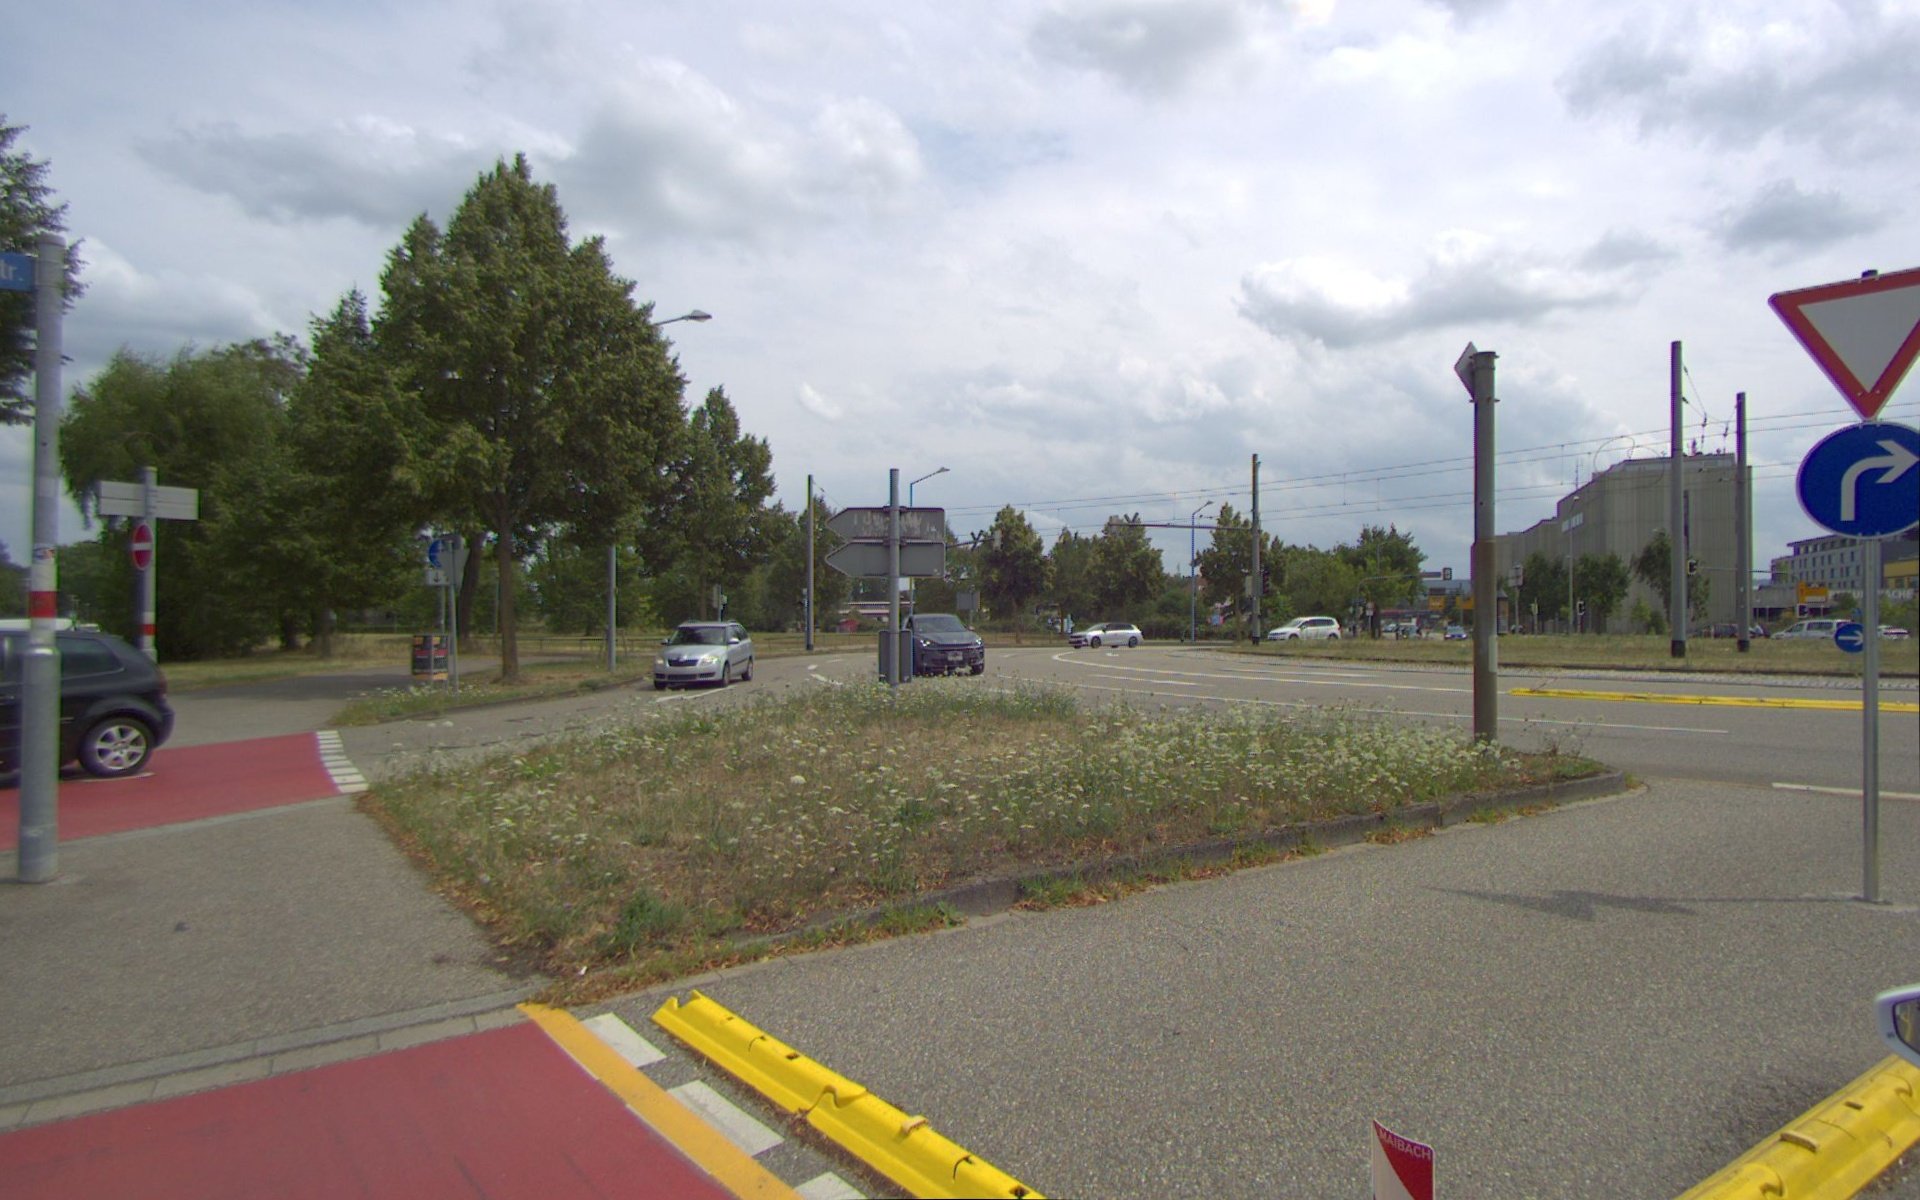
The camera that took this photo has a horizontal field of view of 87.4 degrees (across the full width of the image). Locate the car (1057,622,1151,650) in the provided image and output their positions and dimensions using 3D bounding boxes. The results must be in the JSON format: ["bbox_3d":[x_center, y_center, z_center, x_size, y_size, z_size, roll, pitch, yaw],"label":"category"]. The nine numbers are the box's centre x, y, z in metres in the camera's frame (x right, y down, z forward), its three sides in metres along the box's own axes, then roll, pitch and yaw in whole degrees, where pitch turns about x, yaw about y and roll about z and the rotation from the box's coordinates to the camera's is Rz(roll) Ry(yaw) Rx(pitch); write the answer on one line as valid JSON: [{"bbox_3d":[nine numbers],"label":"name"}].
[{"bbox_3d":[8.119,1.980,56.401,5.120,1.502,1.985,1,-1,-29],"label":"car"}]

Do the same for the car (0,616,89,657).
[{"bbox_3d":[-49.360,1.912,52.681,5.527,2.083,2.175,1,-1,-41],"label":"car"}]

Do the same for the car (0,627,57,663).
[{"bbox_3d":[-41.420,1.894,42.705,4.350,1.491,1.812,1,-1,-39],"label":"car"}]

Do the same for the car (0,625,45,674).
[{"bbox_3d":[-31.885,1.623,31.483,4.671,1.491,1.811,-2,1,-42],"label":"car"}]

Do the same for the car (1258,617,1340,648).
[{"bbox_3d":[19.925,1.915,59.104,4.288,1.687,1.930,-1,-1,-20],"label":"car"}]

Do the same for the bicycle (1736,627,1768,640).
[{"bbox_3d":[57.606,2.423,73.022,1.807,0.889,0.528,-1,-1,40],"label":"bicycle"}]

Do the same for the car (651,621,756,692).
[{"bbox_3d":[-6.027,1.270,24.011,1.597,1.539,4.217,0,-1,-3],"label":"car"}]

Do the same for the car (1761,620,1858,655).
[{"bbox_3d":[53.238,2.340,63.068,1.965,2.040,4.351,2,-1,-12],"label":"car"}]

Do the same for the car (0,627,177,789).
[{"bbox_3d":[-9.451,0.984,8.861,1.601,1.433,3.720,-2,-2,23],"label":"car"}]

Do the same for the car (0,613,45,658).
[{"bbox_3d":[-33.824,1.185,33.431,4.847,1.491,1.812,1,-1,-39],"label":"car"}]

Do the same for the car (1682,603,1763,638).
[{"bbox_3d":[48.103,1.285,63.430,1.961,2.040,3.999,2,-1,-2],"label":"car"}]

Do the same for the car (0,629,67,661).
[{"bbox_3d":[-46.262,2.180,48.752,4.275,1.491,1.812,1,-1,-39],"label":"car"}]

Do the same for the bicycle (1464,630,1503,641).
[{"bbox_3d":[41.483,2.780,79.603,2.605,0.866,0.864,0,-1,4],"label":"bicycle"}]

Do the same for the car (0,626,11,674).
[{"bbox_3d":[-30.100,1.554,29.707,1.464,1.442,2.898,-2,0,44],"label":"car"}]

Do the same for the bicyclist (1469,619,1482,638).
[{"bbox_3d":[40.889,2.253,79.652,0.660,1.428,0.864,0,-1,4],"label":"bicyclist"}]

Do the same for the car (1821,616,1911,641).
[{"bbox_3d":[57.254,1.780,63.563,1.800,1.483,3.995,2,-1,-8],"label":"car"}]

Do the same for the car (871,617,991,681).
[{"bbox_3d":[-0.891,1.248,27.164,2.032,1.572,4.456,0,-1,-19],"label":"car"}]

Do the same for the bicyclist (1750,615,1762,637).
[{"bbox_3d":[57.768,1.889,72.877,0.641,1.579,0.528,-1,-1,40],"label":"bicyclist"}]

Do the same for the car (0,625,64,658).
[{"bbox_3d":[-44.641,1.935,46.725,4.275,1.491,1.812,1,-1,-39],"label":"car"}]
